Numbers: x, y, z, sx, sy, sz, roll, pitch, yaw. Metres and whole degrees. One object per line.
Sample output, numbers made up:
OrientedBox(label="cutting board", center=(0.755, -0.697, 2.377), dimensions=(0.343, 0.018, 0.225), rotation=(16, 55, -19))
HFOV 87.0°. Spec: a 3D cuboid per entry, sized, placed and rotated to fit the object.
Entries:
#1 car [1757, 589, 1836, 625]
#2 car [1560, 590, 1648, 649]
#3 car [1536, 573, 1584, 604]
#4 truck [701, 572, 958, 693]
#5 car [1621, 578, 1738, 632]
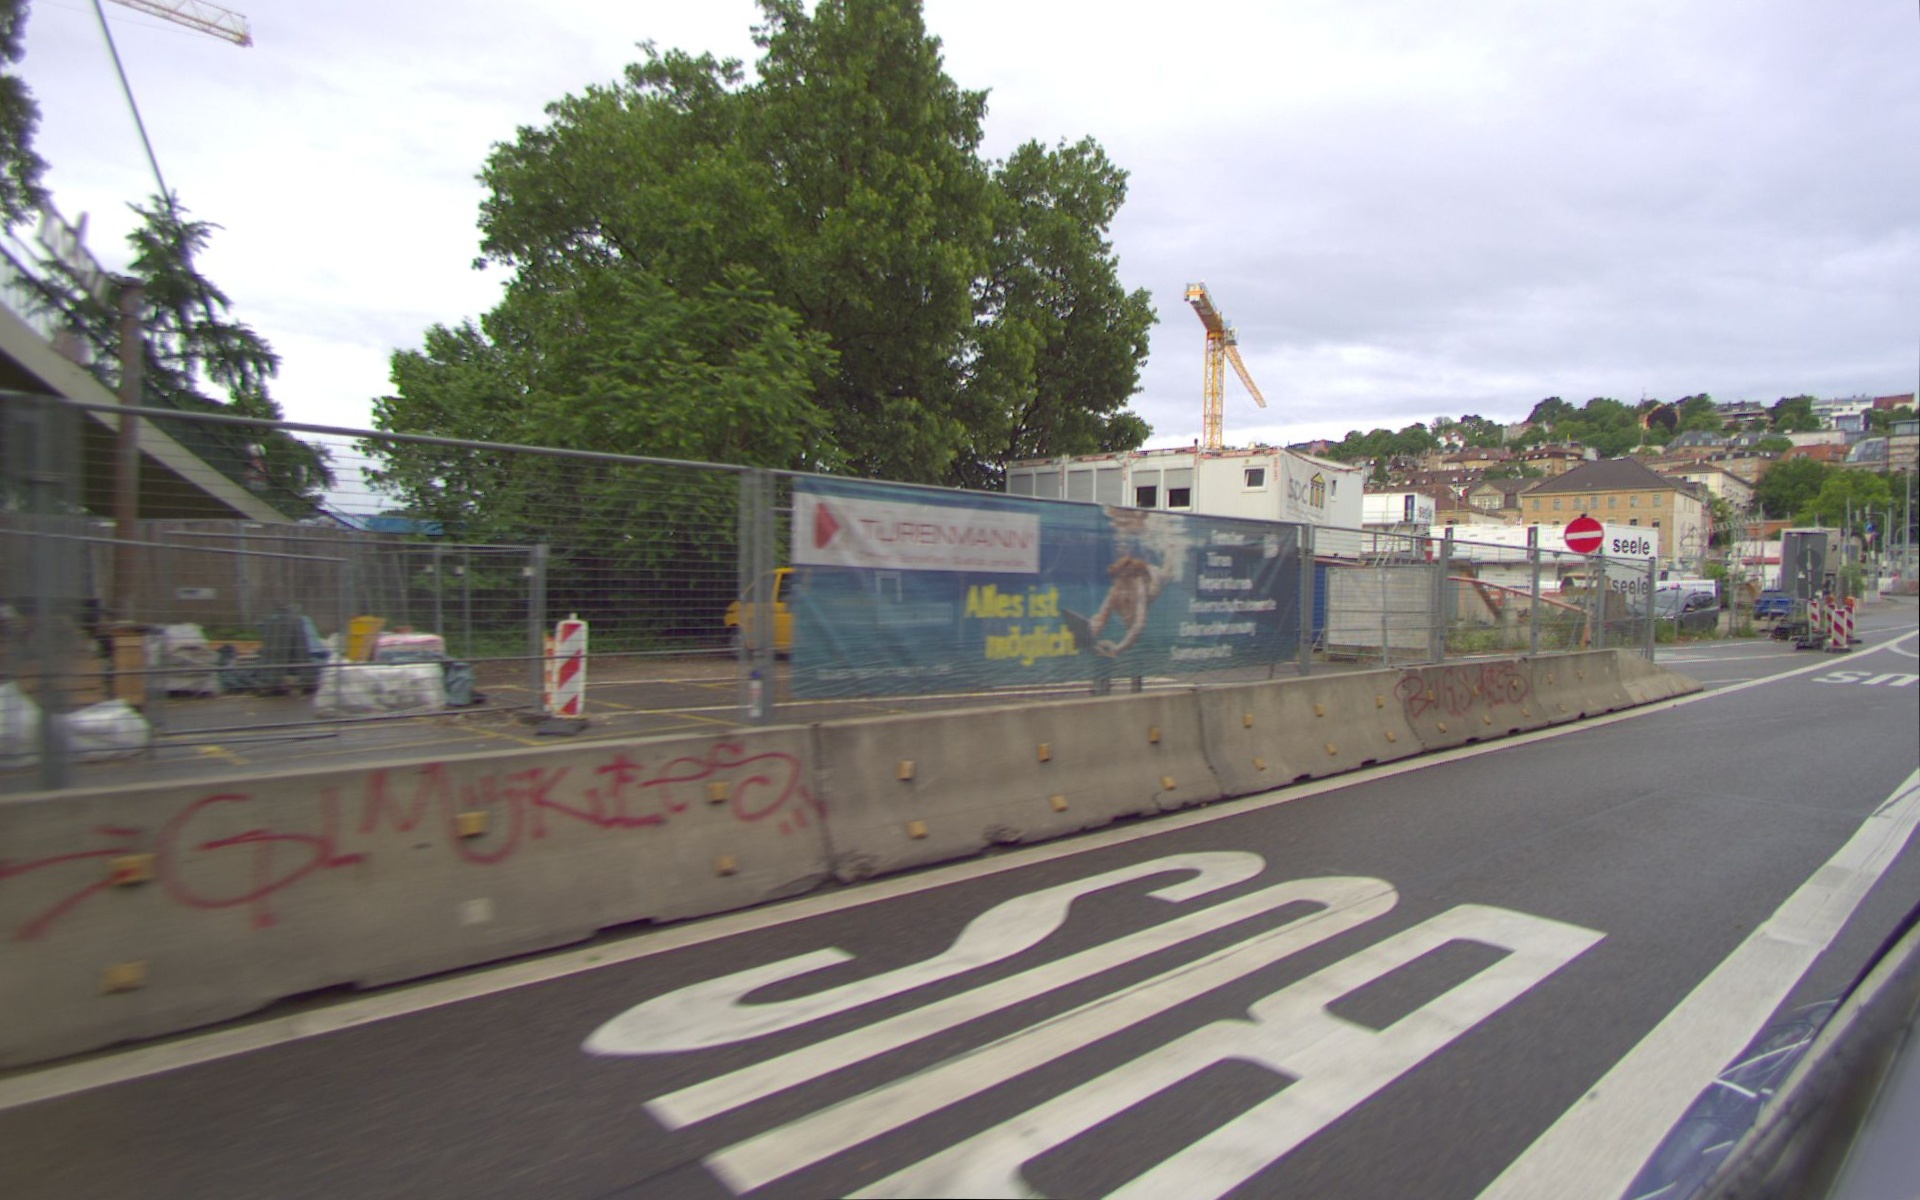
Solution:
OrientedBox(label="car", center=(36.997, 0.270, 44.719), dimensions=(4.333, 1.459, 1.837), rotation=(-1, 1, -38))
OrientedBox(label="car", center=(21.464, 0.596, 33.688), dimensions=(1.850, 1.501, 3.943), rotation=(4, 7, 41))
OrientedBox(label="car", center=(40.553, -0.779, 68.383), dimensions=(2.011, 1.924, 4.587), rotation=(4, 3, 40))
OrientedBox(label="truck", center=(-2.719, 0.495, 20.237), dimensions=(5.152, 2.038, 2.373), rotation=(2, 3, 43))
OrientedBox(label="car", center=(26.170, 0.129, 36.781), dimensions=(4.328, 1.668, 1.931), rotation=(-1, 7, -34))
